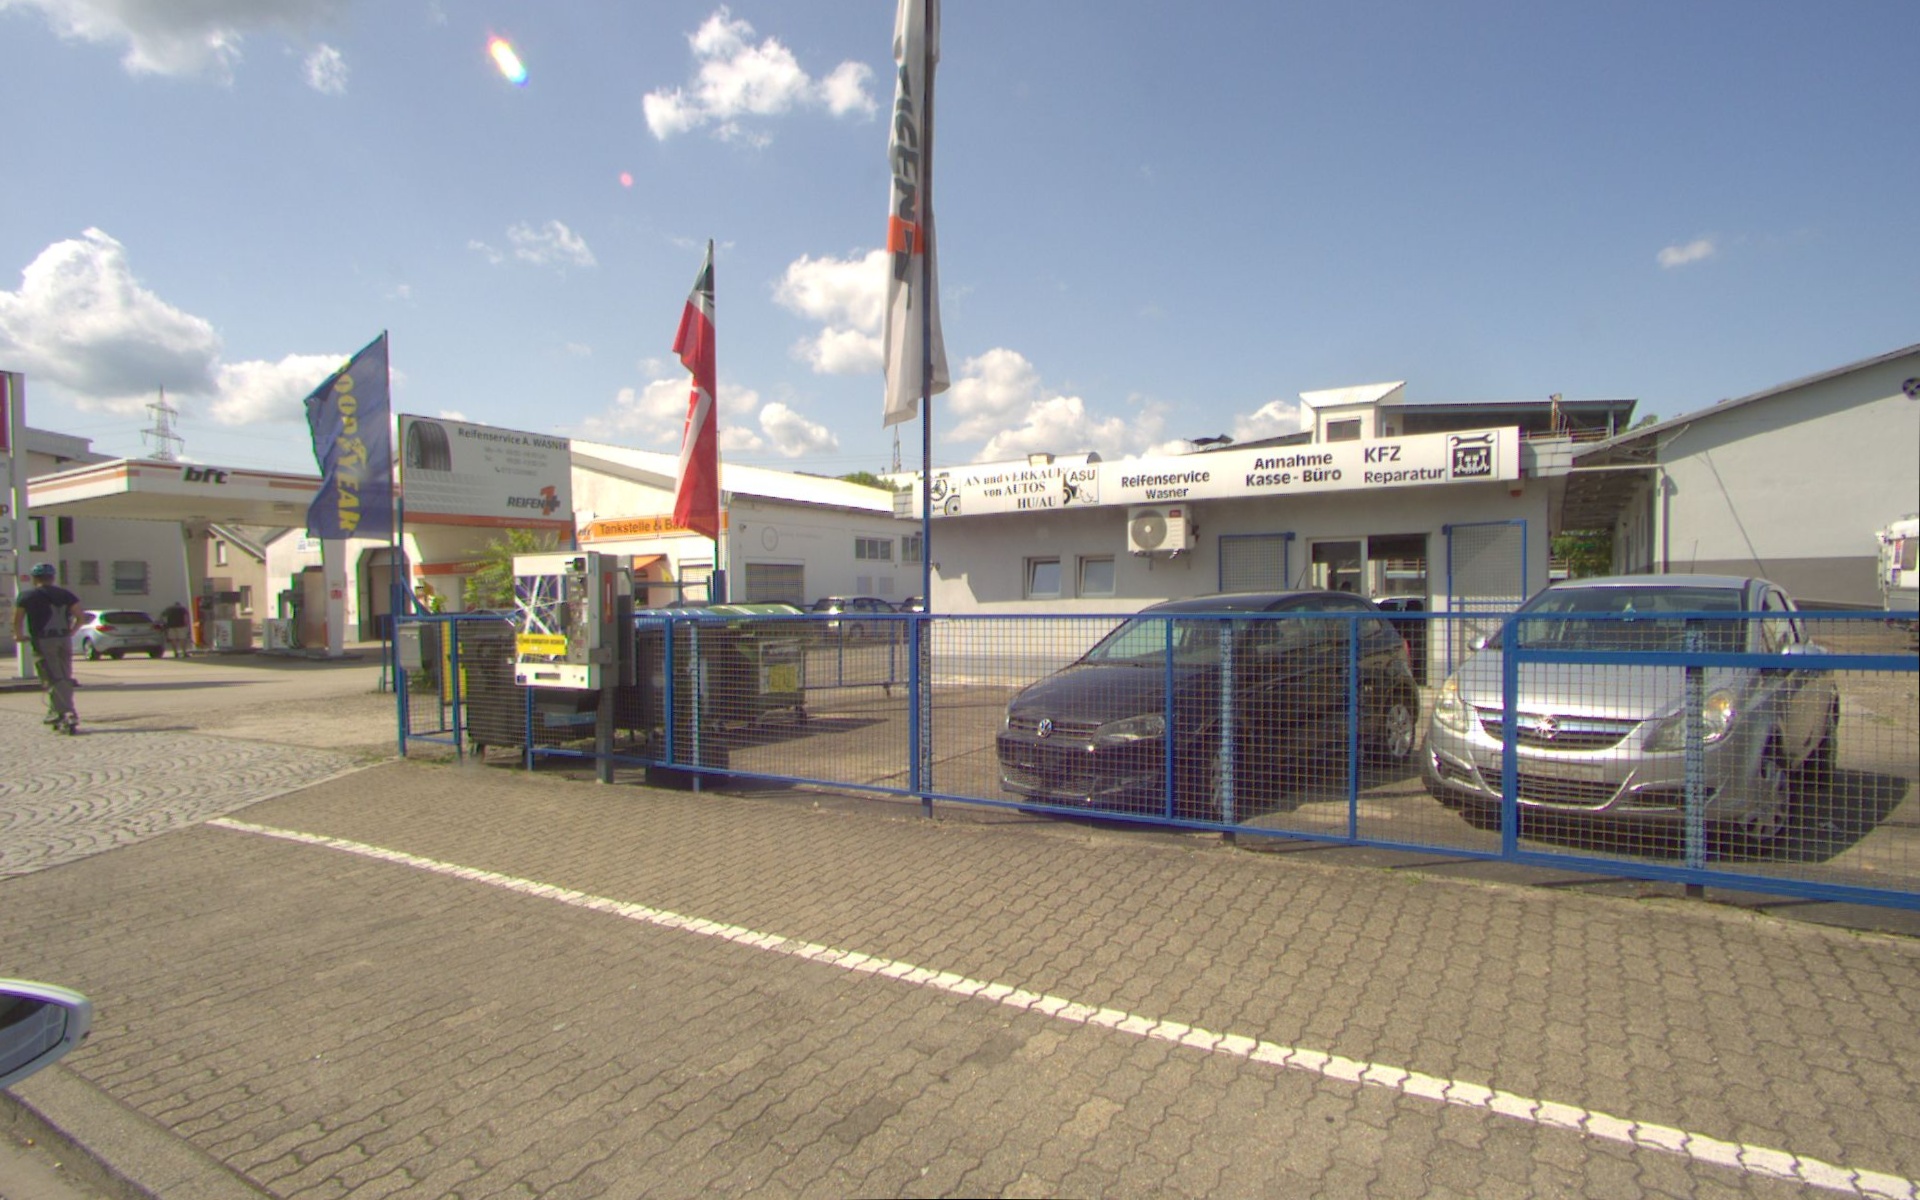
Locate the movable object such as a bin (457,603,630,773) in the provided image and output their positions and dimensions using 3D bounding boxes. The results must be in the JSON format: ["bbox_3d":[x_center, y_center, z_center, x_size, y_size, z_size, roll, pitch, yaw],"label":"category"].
[{"bbox_3d":[-3.944,0.785,9.558,0.812,1.463,1.253,-1,1,32],"label":"movable object such as a bin"}]

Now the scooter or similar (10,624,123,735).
[{"bbox_3d":[-10.466,0.900,11.721,1.588,1.211,0.539,-1,1,32],"label":"scooter or similar"}]

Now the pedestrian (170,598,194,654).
[{"bbox_3d":[-23.821,0.790,30.673,0.478,1.711,0.395,-1,1,33],"label":"pedestrian"}]

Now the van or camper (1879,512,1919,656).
[{"bbox_3d":[21.399,-0.379,19.318,4.986,2.810,2.304,-1,1,29],"label":"van or camper"}]

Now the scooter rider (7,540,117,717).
[{"bbox_3d":[-10.512,0.321,11.729,0.774,1.990,0.715,-1,1,32],"label":"scooter rider"}]

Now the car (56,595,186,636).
[{"bbox_3d":[-37.084,0.653,44.336,1.937,1.671,3.979,-1,1,31],"label":"car"}]

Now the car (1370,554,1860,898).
[{"bbox_3d":[4.364,0.543,6.404,3.958,1.516,1.734,-1,0,-43],"label":"car"}]

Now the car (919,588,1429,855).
[{"bbox_3d":[1.768,0.667,7.491,3.955,1.462,1.696,-1,0,-41],"label":"car"}]

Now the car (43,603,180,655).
[{"bbox_3d":[-25.847,0.881,30.480,3.941,1.439,1.956,-1,1,30],"label":"car"}]

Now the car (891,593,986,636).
[{"bbox_3d":[-0.705,0.490,35.638,1.590,1.406,3.652,-1,1,33],"label":"car"}]

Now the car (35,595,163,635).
[{"bbox_3d":[-39.203,0.679,45.678,1.937,1.671,3.979,-1,1,31],"label":"car"}]

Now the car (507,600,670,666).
[{"bbox_3d":[-8.695,0.733,23.678,1.589,1.379,3.312,-1,1,32],"label":"car"}]

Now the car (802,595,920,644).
[{"bbox_3d":[-3.080,0.577,31.908,1.590,1.406,3.998,-1,1,33],"label":"car"}]

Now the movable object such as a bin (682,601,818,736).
[{"bbox_3d":[-2.450,0.766,11.806,0.939,1.463,1.320,-1,1,25],"label":"movable object such as a bin"}]

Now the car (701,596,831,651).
[{"bbox_3d":[-5.348,0.618,27.994,1.589,1.379,3.488,-1,1,32],"label":"car"}]

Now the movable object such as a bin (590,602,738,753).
[{"bbox_3d":[-3.127,0.778,10.667,0.812,1.463,1.253,-1,1,32],"label":"movable object such as a bin"}]
